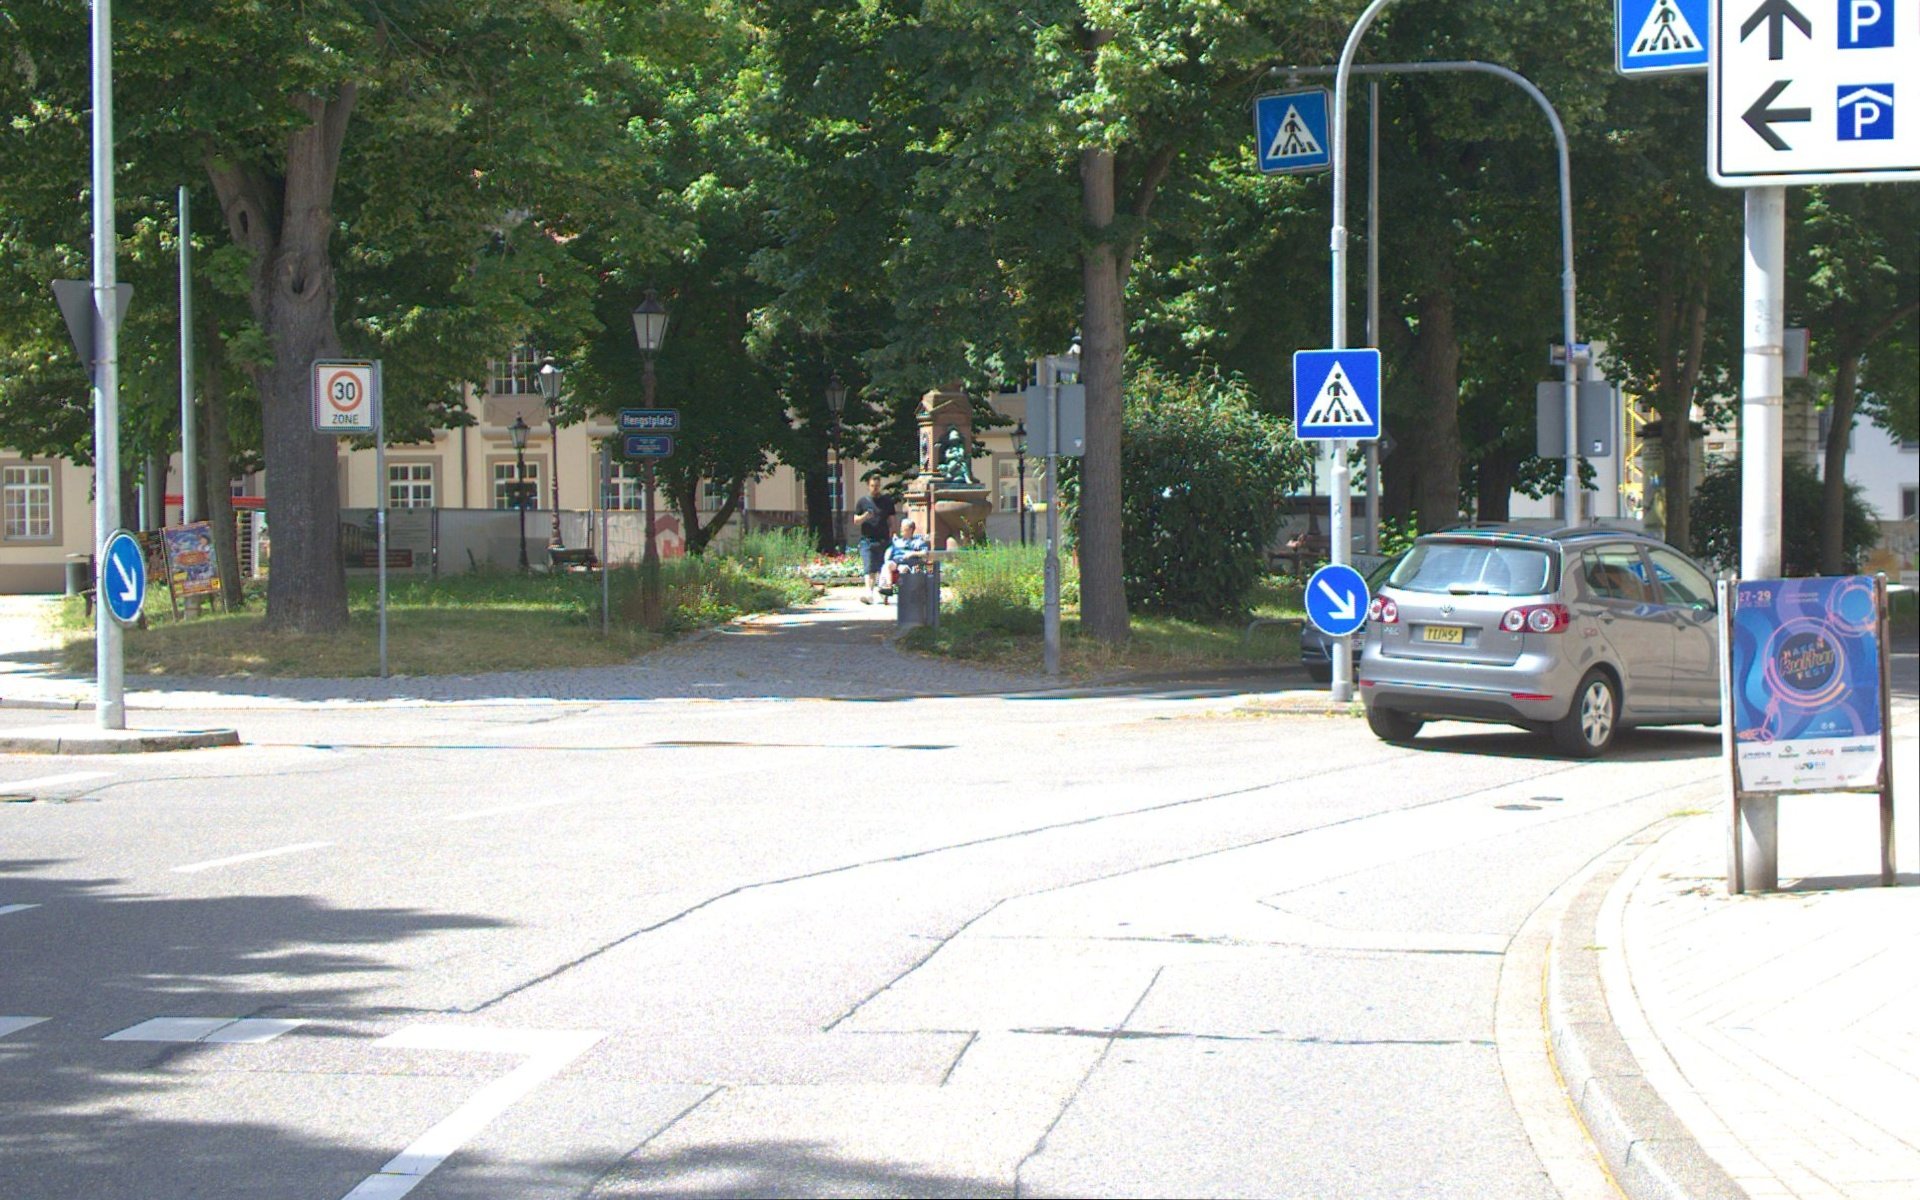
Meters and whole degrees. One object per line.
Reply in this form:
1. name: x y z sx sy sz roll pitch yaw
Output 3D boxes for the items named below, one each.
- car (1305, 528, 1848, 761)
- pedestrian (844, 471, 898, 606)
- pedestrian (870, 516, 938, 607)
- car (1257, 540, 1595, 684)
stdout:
1. car: 4.577 0.251 25.139 1.908 1.528 4.233 2 2 43
2. pedestrian: -1.269 -0.880 49.145 0.748 1.904 0.684 0 3 1
3. pedestrian: -0.781 -0.550 48.346 0.906 1.247 1.148 0 3 1
4. car: 5.200 0.082 37.911 1.741 1.483 4.398 1 1 37
